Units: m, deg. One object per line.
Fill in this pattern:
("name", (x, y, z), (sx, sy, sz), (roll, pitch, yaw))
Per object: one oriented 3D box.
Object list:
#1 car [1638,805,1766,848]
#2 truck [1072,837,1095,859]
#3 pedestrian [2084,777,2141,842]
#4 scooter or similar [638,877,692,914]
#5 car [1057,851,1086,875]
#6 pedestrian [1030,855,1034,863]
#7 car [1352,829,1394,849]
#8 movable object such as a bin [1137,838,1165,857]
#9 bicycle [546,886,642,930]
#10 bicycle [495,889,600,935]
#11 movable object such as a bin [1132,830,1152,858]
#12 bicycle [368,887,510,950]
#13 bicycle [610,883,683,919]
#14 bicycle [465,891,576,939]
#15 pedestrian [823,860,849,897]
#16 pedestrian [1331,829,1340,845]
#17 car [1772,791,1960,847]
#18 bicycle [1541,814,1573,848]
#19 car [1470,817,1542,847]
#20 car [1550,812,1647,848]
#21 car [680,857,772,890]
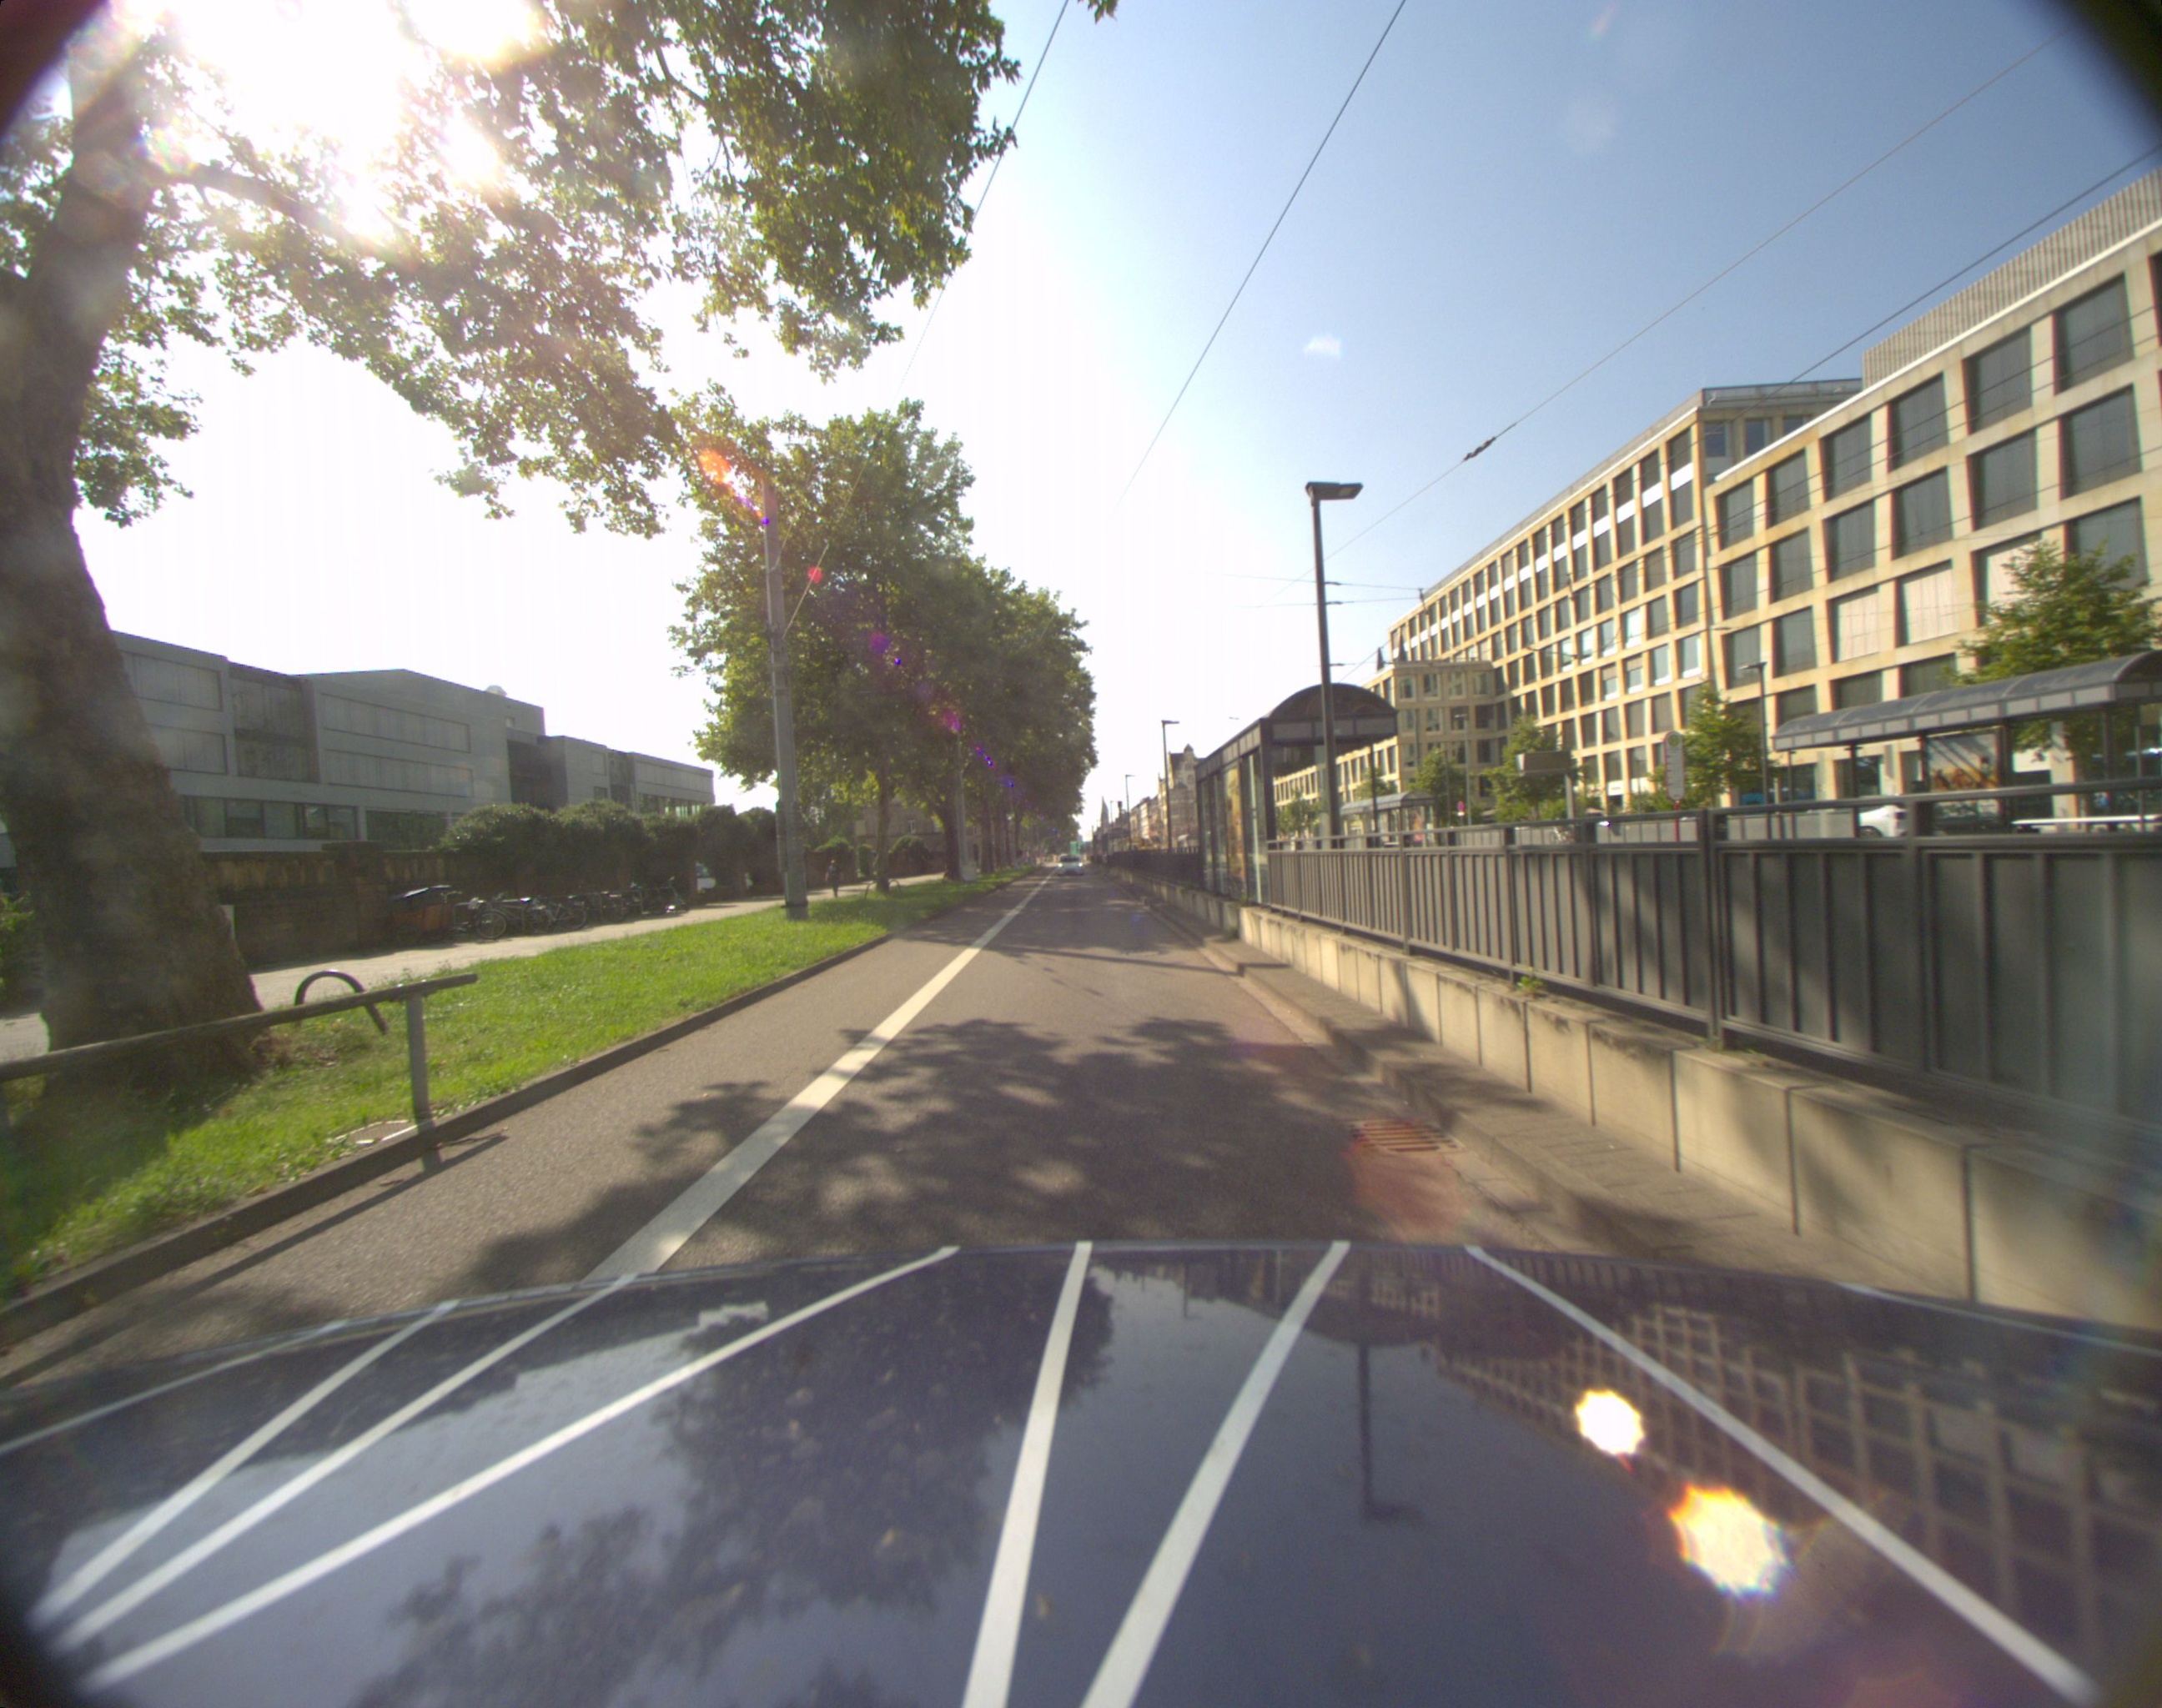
("car", (25.569, -1.079, 31.487), (1.768, 1.565, 4.131), (-3, 0, -2))
("truck", (0.425, -1.106, 146.279), (2.817, 3.766, 9.007), (-3, 0, -10))
("pedestrian", (32.117, -1.370, 23.667), (0.564, 2.002, 0.822), (-1, 2, -1))
("scooter or similar", (-14.183, 1.404, 25.908), (1.509, 1.184, 0.539), (-2, 1, 3))
("car", (-0.650, 0.588, 53.341), (1.844, 1.451, 3.999), (-4, 1, 0))
("pedestrian", (-7.702, 0.788, 118.848), (0.610, 1.211, 0.574), (-2, 1, -3))
("car", (24.430, -1.231, 63.686), (1.768, 1.525, 4.131), (-3, 0, -2))
("movable object such as a bin", (12.946, -1.151, 140.625), (4.127, 3.204, 3.563), (-3, 0, -16))
("bicycle", (-13.821, 1.516, 21.607), (2.179, 1.070, 0.743), (-3, 1, -2))
("bicycle", (-13.594, 1.475, 19.396), (2.178, 1.070, 0.743), (-1, 1, 3))
("movable object such as a bin", (10.604, -1.744, 132.217), (2.994, 4.527, 4.212), (-3, 0, 1))
("bicycle", (-14.378, 1.430, 17.076), (2.250, 1.270, 0.998), (-1, 2, -1))
("bicycle", (-14.131, 1.523, 24.720), (1.872, 1.000, 0.735), (-3, 1, -2))
("bicycle", (-13.693, 1.487, 18.606), (2.178, 1.070, 0.743), (-1, 1, 3))
("pedestrian", (-10.488, 1.044, 32.551), (0.786, 1.506, 0.787), (-3, 1, -1))
("pedestrian", (32.195, -2.153, 96.108), (0.769, 2.002, 0.822), (-4, 1, 3))
("car", (25.359, -1.071, 24.793), (1.768, 1.594, 4.131), (-3, 0, -2))
("bicycle", (16.835, -0.813, 26.877), (0.472, 1.141, 1.485), (-4, 1, 14))
("car", (24.931, -1.251, 44.731), (1.768, 1.565, 4.131), (-3, 0, -2))
("car", (25.140, -1.115, 37.111), (1.768, 1.565, 4.131), (-3, 0, -2))
("car", (-21.289, 1.134, 45.694), (4.534, 1.724, 1.909), (-3, 1, -3))
